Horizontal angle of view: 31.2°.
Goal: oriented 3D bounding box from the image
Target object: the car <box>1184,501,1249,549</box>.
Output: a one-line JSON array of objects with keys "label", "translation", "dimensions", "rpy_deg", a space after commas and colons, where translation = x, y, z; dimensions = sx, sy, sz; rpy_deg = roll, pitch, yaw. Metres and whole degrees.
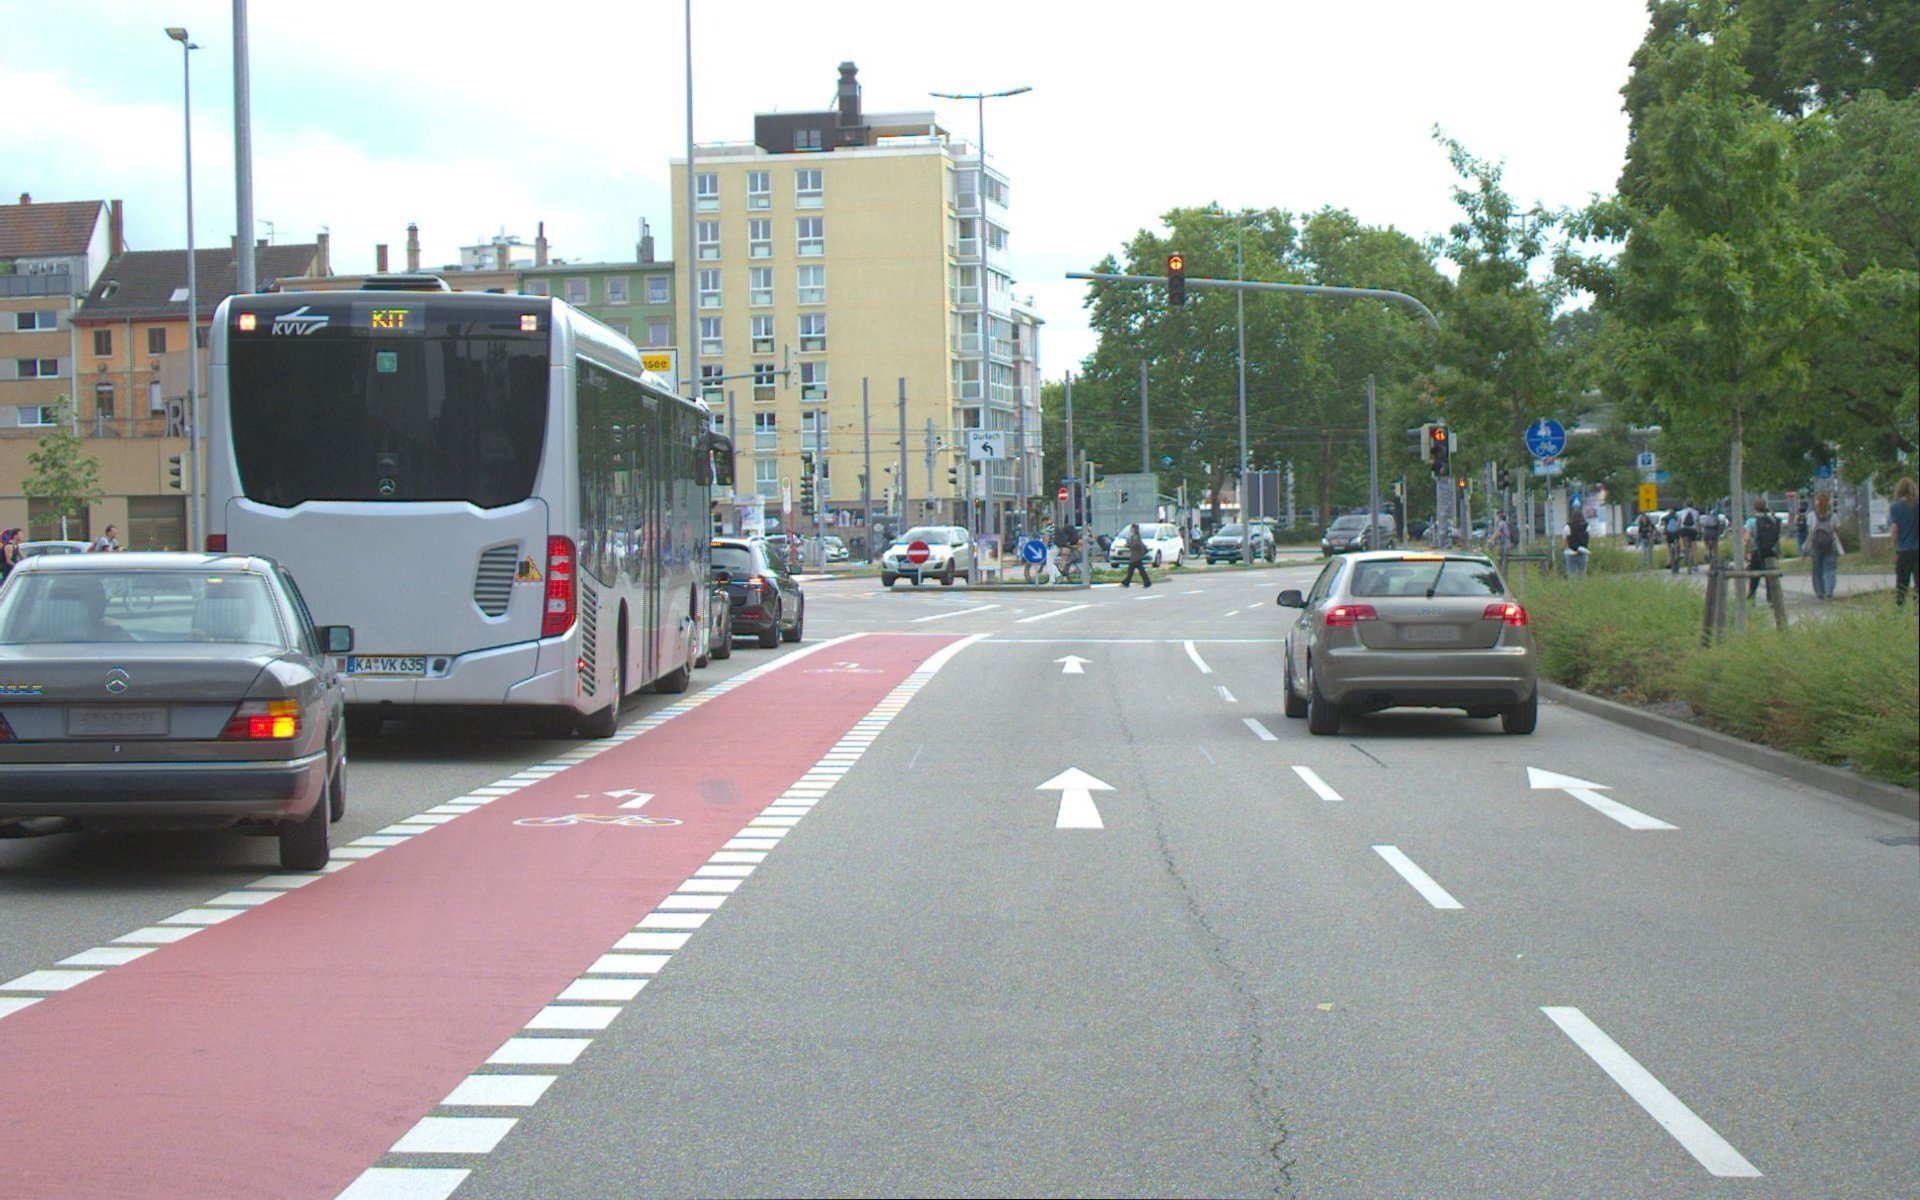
[{"label": "car", "translation": [10.319, -3.015, 138.074], "dimensions": [1.808, 1.844, 3.997], "rpy_deg": [-1, 1, 15]}]

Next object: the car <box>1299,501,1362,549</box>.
[{"label": "car", "translation": [16.318, -3.302, 151.204], "dimensions": [1.995, 2.006, 3.997], "rpy_deg": [-1, 2, 17]}]

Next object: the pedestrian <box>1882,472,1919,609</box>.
[{"label": "pedestrian", "translation": [11.983, -0.752, 43.373], "dimensions": [0.647, 1.707, 0.561], "rpy_deg": [-1, 1, 16]}]

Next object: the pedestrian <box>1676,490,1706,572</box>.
[{"label": "pedestrian", "translation": [18.063, -1.699, 84.960], "dimensions": [0.614, 2.007, 0.597], "rpy_deg": [-1, 1, 0]}]

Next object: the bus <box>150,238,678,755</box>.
[{"label": "bus", "translation": [-3.948, -0.798, 26.878], "dimensions": [2.831, 3.378, 8.183], "rpy_deg": [-1, 2, 0]}]

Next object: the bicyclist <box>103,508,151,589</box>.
[{"label": "bicyclist", "translation": [-17.071, -1.058, 70.466], "dimensions": [0.786, 1.637, 0.614], "rpy_deg": [-1, 1, -1]}]

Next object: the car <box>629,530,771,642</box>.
[{"label": "car", "translation": [-3.429, -0.218, 45.894], "dimensions": [1.655, 1.391, 3.860], "rpy_deg": [-1, 1, -1]}]

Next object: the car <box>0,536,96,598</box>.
[{"label": "car", "translation": [-21.575, -0.756, 78.130], "dimensions": [3.671, 1.389, 1.585], "rpy_deg": [0, 1, -18]}]

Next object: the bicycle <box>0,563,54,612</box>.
[{"label": "bicycle", "translation": [-19.718, -0.249, 70.743], "dimensions": [1.964, 0.978, 0.631], "rpy_deg": [-1, 1, 0]}]

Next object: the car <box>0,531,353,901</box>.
[{"label": "car", "translation": [-3.819, 0.439, 16.265], "dimensions": [1.761, 1.484, 4.172], "rpy_deg": [-1, 1, -9]}]

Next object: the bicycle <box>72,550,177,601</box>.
[{"label": "bicycle", "translation": [-17.120, -0.506, 70.471], "dimensions": [1.964, 0.978, 0.631], "rpy_deg": [-1, 1, -1]}]

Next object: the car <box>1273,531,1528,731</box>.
[{"label": "car", "translation": [3.490, 0.198, 27.758], "dimensions": [1.724, 1.452, 3.736], "rpy_deg": [-1, 1, 3]}]

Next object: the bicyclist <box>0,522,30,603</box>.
[{"label": "bicyclist", "translation": [-19.639, -0.766, 70.727], "dimensions": [0.786, 1.637, 0.572], "rpy_deg": [-1, 1, 1]}]

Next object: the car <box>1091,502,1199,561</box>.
[{"label": "car", "translation": [6.977, -2.580, 128.893], "dimensions": [2.586, 2.102, 5.596], "rpy_deg": [-1, 1, 19]}]

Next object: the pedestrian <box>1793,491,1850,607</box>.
[{"label": "pedestrian", "translation": [12.970, -0.772, 51.740], "dimensions": [0.802, 1.707, 0.764], "rpy_deg": [-1, 1, 14]}]
